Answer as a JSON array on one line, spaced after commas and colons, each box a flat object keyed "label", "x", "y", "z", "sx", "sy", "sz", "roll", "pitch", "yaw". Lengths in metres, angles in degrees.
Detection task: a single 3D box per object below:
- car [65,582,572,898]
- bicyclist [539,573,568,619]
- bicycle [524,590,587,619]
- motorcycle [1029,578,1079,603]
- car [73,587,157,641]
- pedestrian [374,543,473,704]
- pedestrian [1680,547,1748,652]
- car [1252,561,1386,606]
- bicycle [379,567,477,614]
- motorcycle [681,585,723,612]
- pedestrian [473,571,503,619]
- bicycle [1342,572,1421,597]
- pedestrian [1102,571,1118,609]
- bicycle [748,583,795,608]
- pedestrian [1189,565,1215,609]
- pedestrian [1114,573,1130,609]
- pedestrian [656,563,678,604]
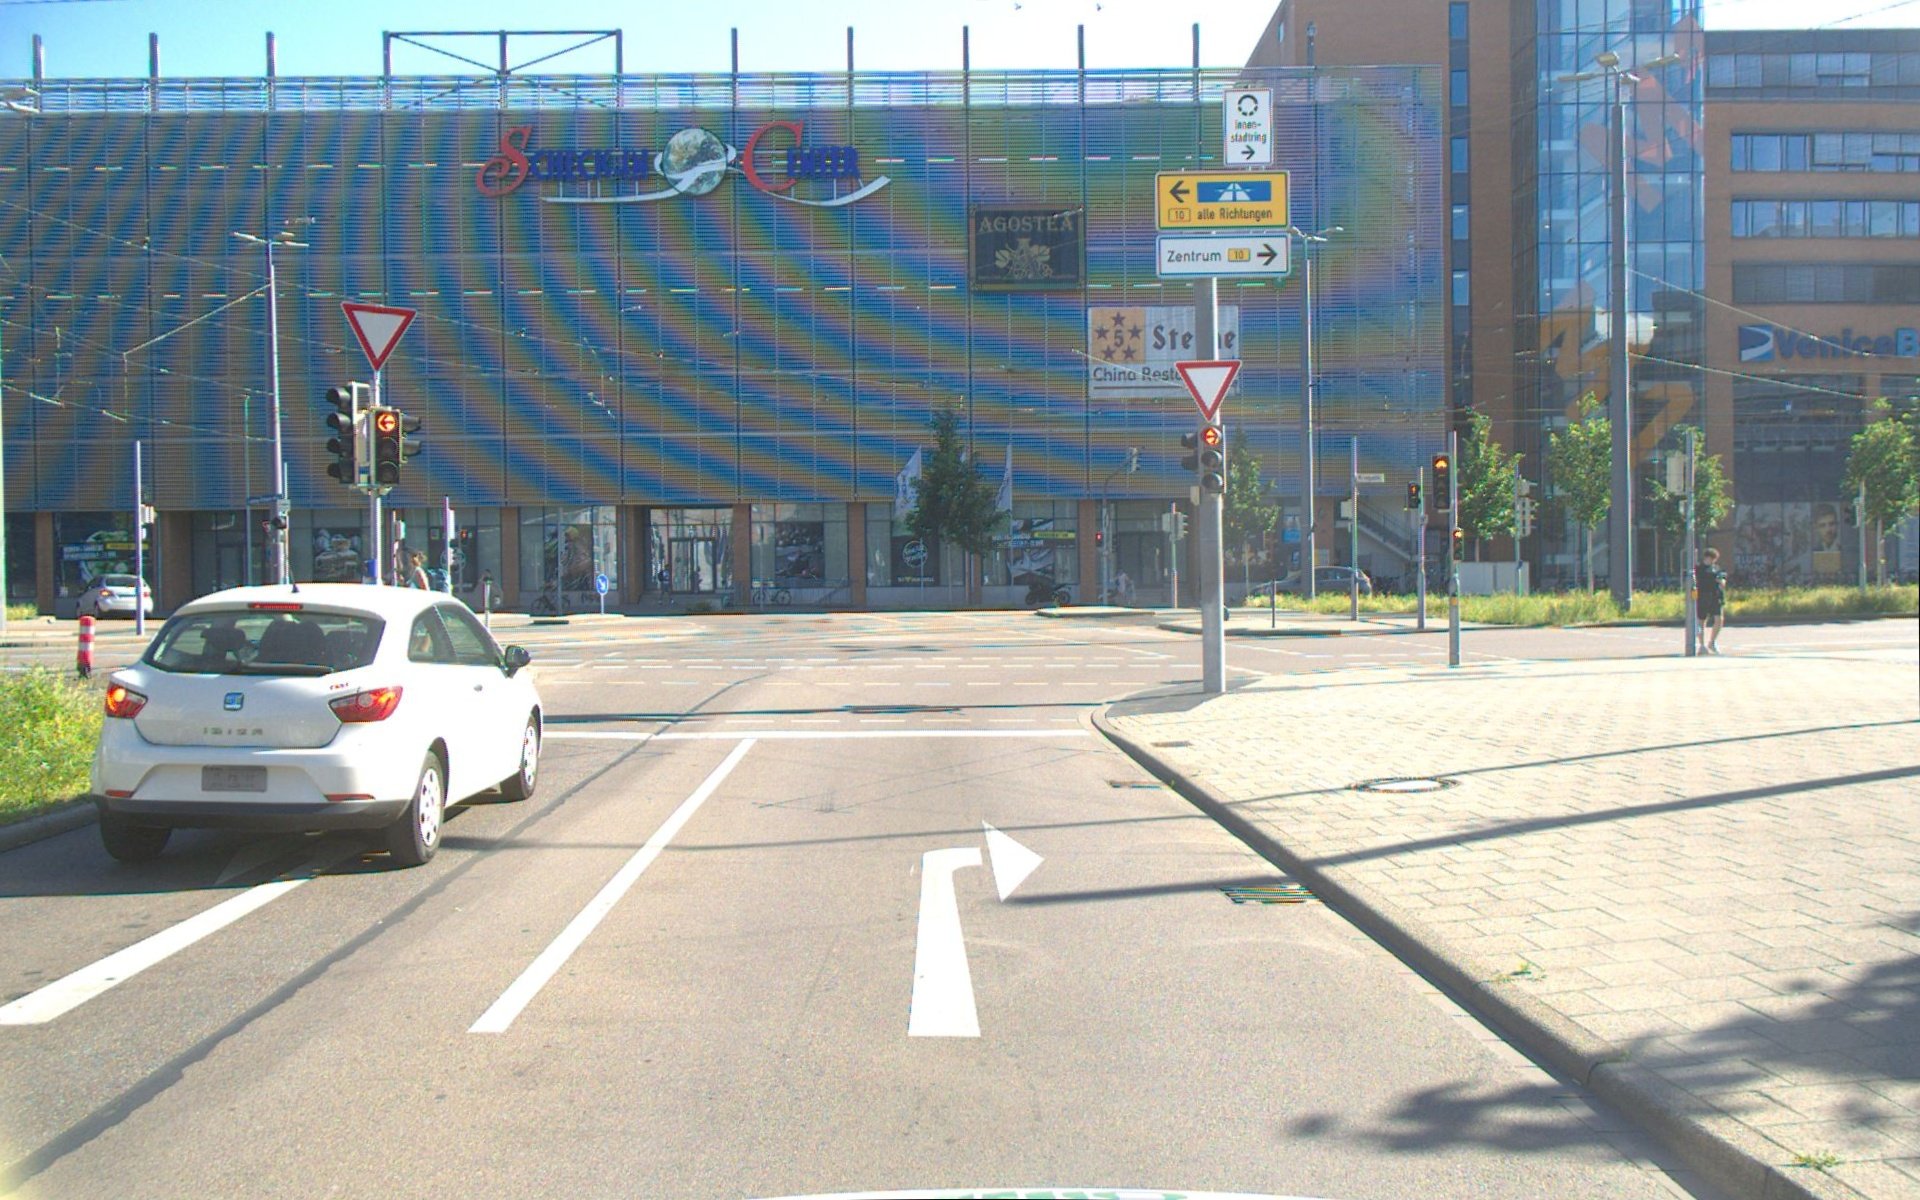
[{"label": "car", "x": -3.499, "y": 0.652, "z": 9.784, "sx": 1.599, "sy": 1.448, "sz": 3.781, "roll": 2, "pitch": 1, "yaw": -2}, {"label": "bicyclist", "x": -16.322, "y": -0.154, "z": 66.374, "sx": 0.838, "sy": 1.834, "sz": 0.803, "roll": -1, "pitch": 1, "yaw": -44}, {"label": "bicycle", "x": -16.240, "y": 0.167, "z": 66.446, "sx": 2.227, "sy": 1.089, "sz": 1.030, "roll": -1, "pitch": 1, "yaw": -43}, {"label": "motorcycle", "x": 4.150, "y": -0.414, "z": 73.093, "sx": 2.158, "sy": 1.061, "sz": 1.061, "roll": 0, "pitch": 1, "yaw": -2}, {"label": "car", "x": -29.927, "y": 0.472, "z": 58.507, "sx": 1.742, "sy": 1.825, "sz": 3.940, "roll": 1, "pitch": 0, "yaw": -41}, {"label": "pedestrian", "x": -5.960, "y": 0.251, "z": 18.402, "sx": 0.868, "sy": 1.737, "sz": 0.712, "roll": -1, "pitch": 0, "yaw": -3}, {"label": "pedestrian", "x": 12.769, "y": -0.012, "z": 28.037, "sx": 0.790, "sy": 1.738, "sz": 0.761, "roll": -1, "pitch": 0, "yaw": -2}, {"label": "car", "x": 12.622, "y": -0.585, "z": 58.269, "sx": 4.396, "sy": 1.521, "sz": 1.494, "roll": -1, "pitch": 1, "yaw": -2}, {"label": "bicycle", "x": -23.485, "y": -0.418, "z": 73.117, "sx": 3.906, "sy": 2.048, "sz": 1.330, "roll": 0, "pitch": 1, "yaw": -2}, {"label": "motorcycle", "x": -10.533, "y": -0.074, "z": 67.497, "sx": 1.616, "sy": 1.078, "sz": 0.497, "roll": -1, "pitch": 1, "yaw": 7}, {"label": "pedestrian", "x": -18.993, "y": -0.207, "z": 66.556, "sx": 0.889, "sy": 1.901, "sz": 0.816, "roll": 0, "pitch": 1, "yaw": 41}, {"label": "bicycle", "x": 18.880, "y": -0.686, "z": 74.185, "sx": 3.290, "sy": 1.096, "sz": 1.117, "roll": 0, "pitch": 1, "yaw": 4}, {"label": "pedestrian", "x": 6.221, "y": -0.421, "z": 68.456, "sx": 0.577, "sy": 1.561, "sz": 0.658, "roll": -1, "pitch": 0, "yaw": -2}, {"label": "bicycle", "x": -8.266, "y": -0.197, "z": 72.643, "sx": 1.985, "sy": 1.078, "sz": 1.144, "roll": -1, "pitch": 1, "yaw": -3}, {"label": "pedestrian", "x": 10.018, "y": -0.545, "z": 68.473, "sx": 0.837, "sy": 1.768, "sz": 0.752, "roll": -1, "pitch": 0, "yaw": -8}, {"label": "pedestrian", "x": 6.772, "y": -0.376, "z": 69.194, "sx": 0.577, "sy": 1.488, "sz": 0.658, "roll": -1, "pitch": 0, "yaw": -2}, {"label": "pedestrian", "x": -12.903, "y": -0.713, "z": 72.795, "sx": 0.831, "sy": 1.794, "sz": 0.620, "roll": -1, "pitch": 0, "yaw": -3}]
